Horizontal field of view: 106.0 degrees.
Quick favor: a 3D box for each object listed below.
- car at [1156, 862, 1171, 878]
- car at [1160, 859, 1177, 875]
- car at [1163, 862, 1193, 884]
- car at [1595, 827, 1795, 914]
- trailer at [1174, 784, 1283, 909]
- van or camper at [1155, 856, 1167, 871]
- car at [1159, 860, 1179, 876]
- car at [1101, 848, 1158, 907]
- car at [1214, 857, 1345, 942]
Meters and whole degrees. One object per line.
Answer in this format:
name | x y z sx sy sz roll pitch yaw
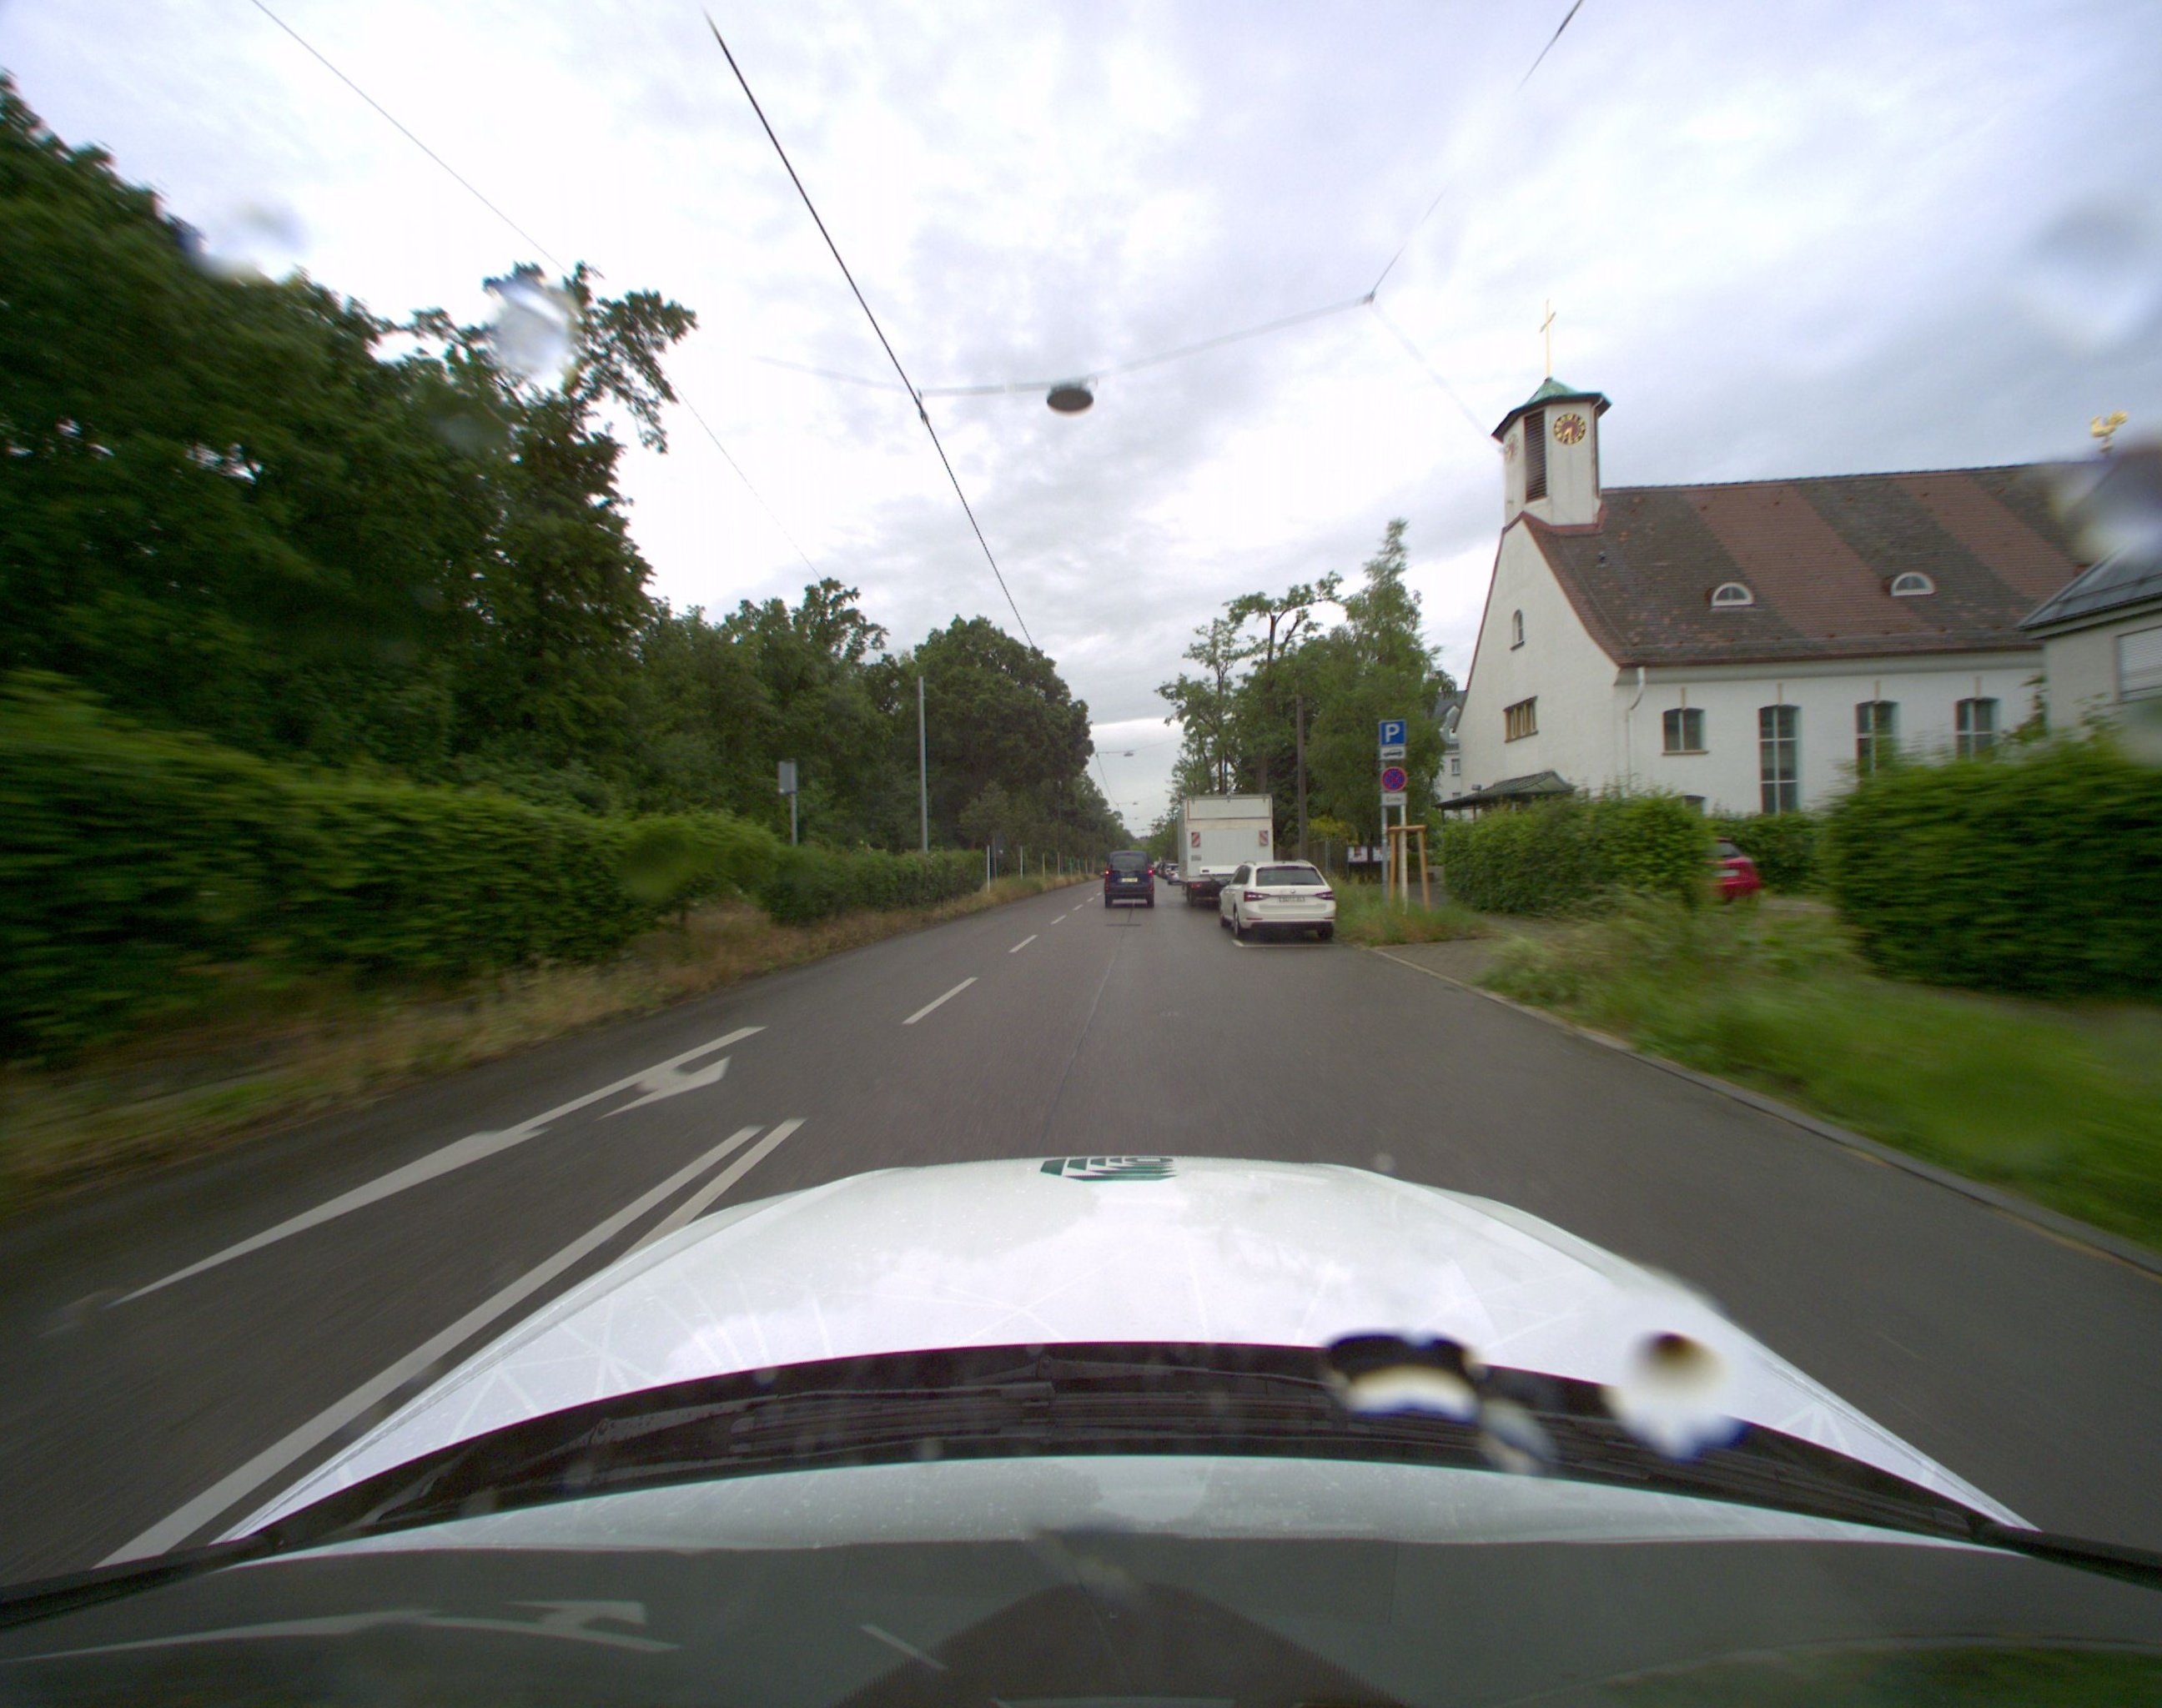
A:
car | 10.798 2.062 106.736 1.984 2.014 4.894 0 -1 5
car | 8.823 1.295 82.217 1.671 1.556 4.080 0 -1 5
car | 6.538 1.248 55.258 1.774 1.395 4.003 0 -1 3
car | 12.339 0.317 16.644 1.638 1.519 3.394 -2 -1 4
trailer | 4.637 -0.175 27.172 2.722 3.508 8.256 0 -1 4
van or camper | 15.326 1.815 155.947 2.069 2.651 5.352 0 -1 4
car | 8.315 1.304 77.267 1.730 1.464 3.729 0 -1 5
car | 1.579 0.751 27.408 1.760 1.830 3.543 0 -1 2
car | 3.823 0.813 16.464 1.788 1.474 4.552 0 0 3
